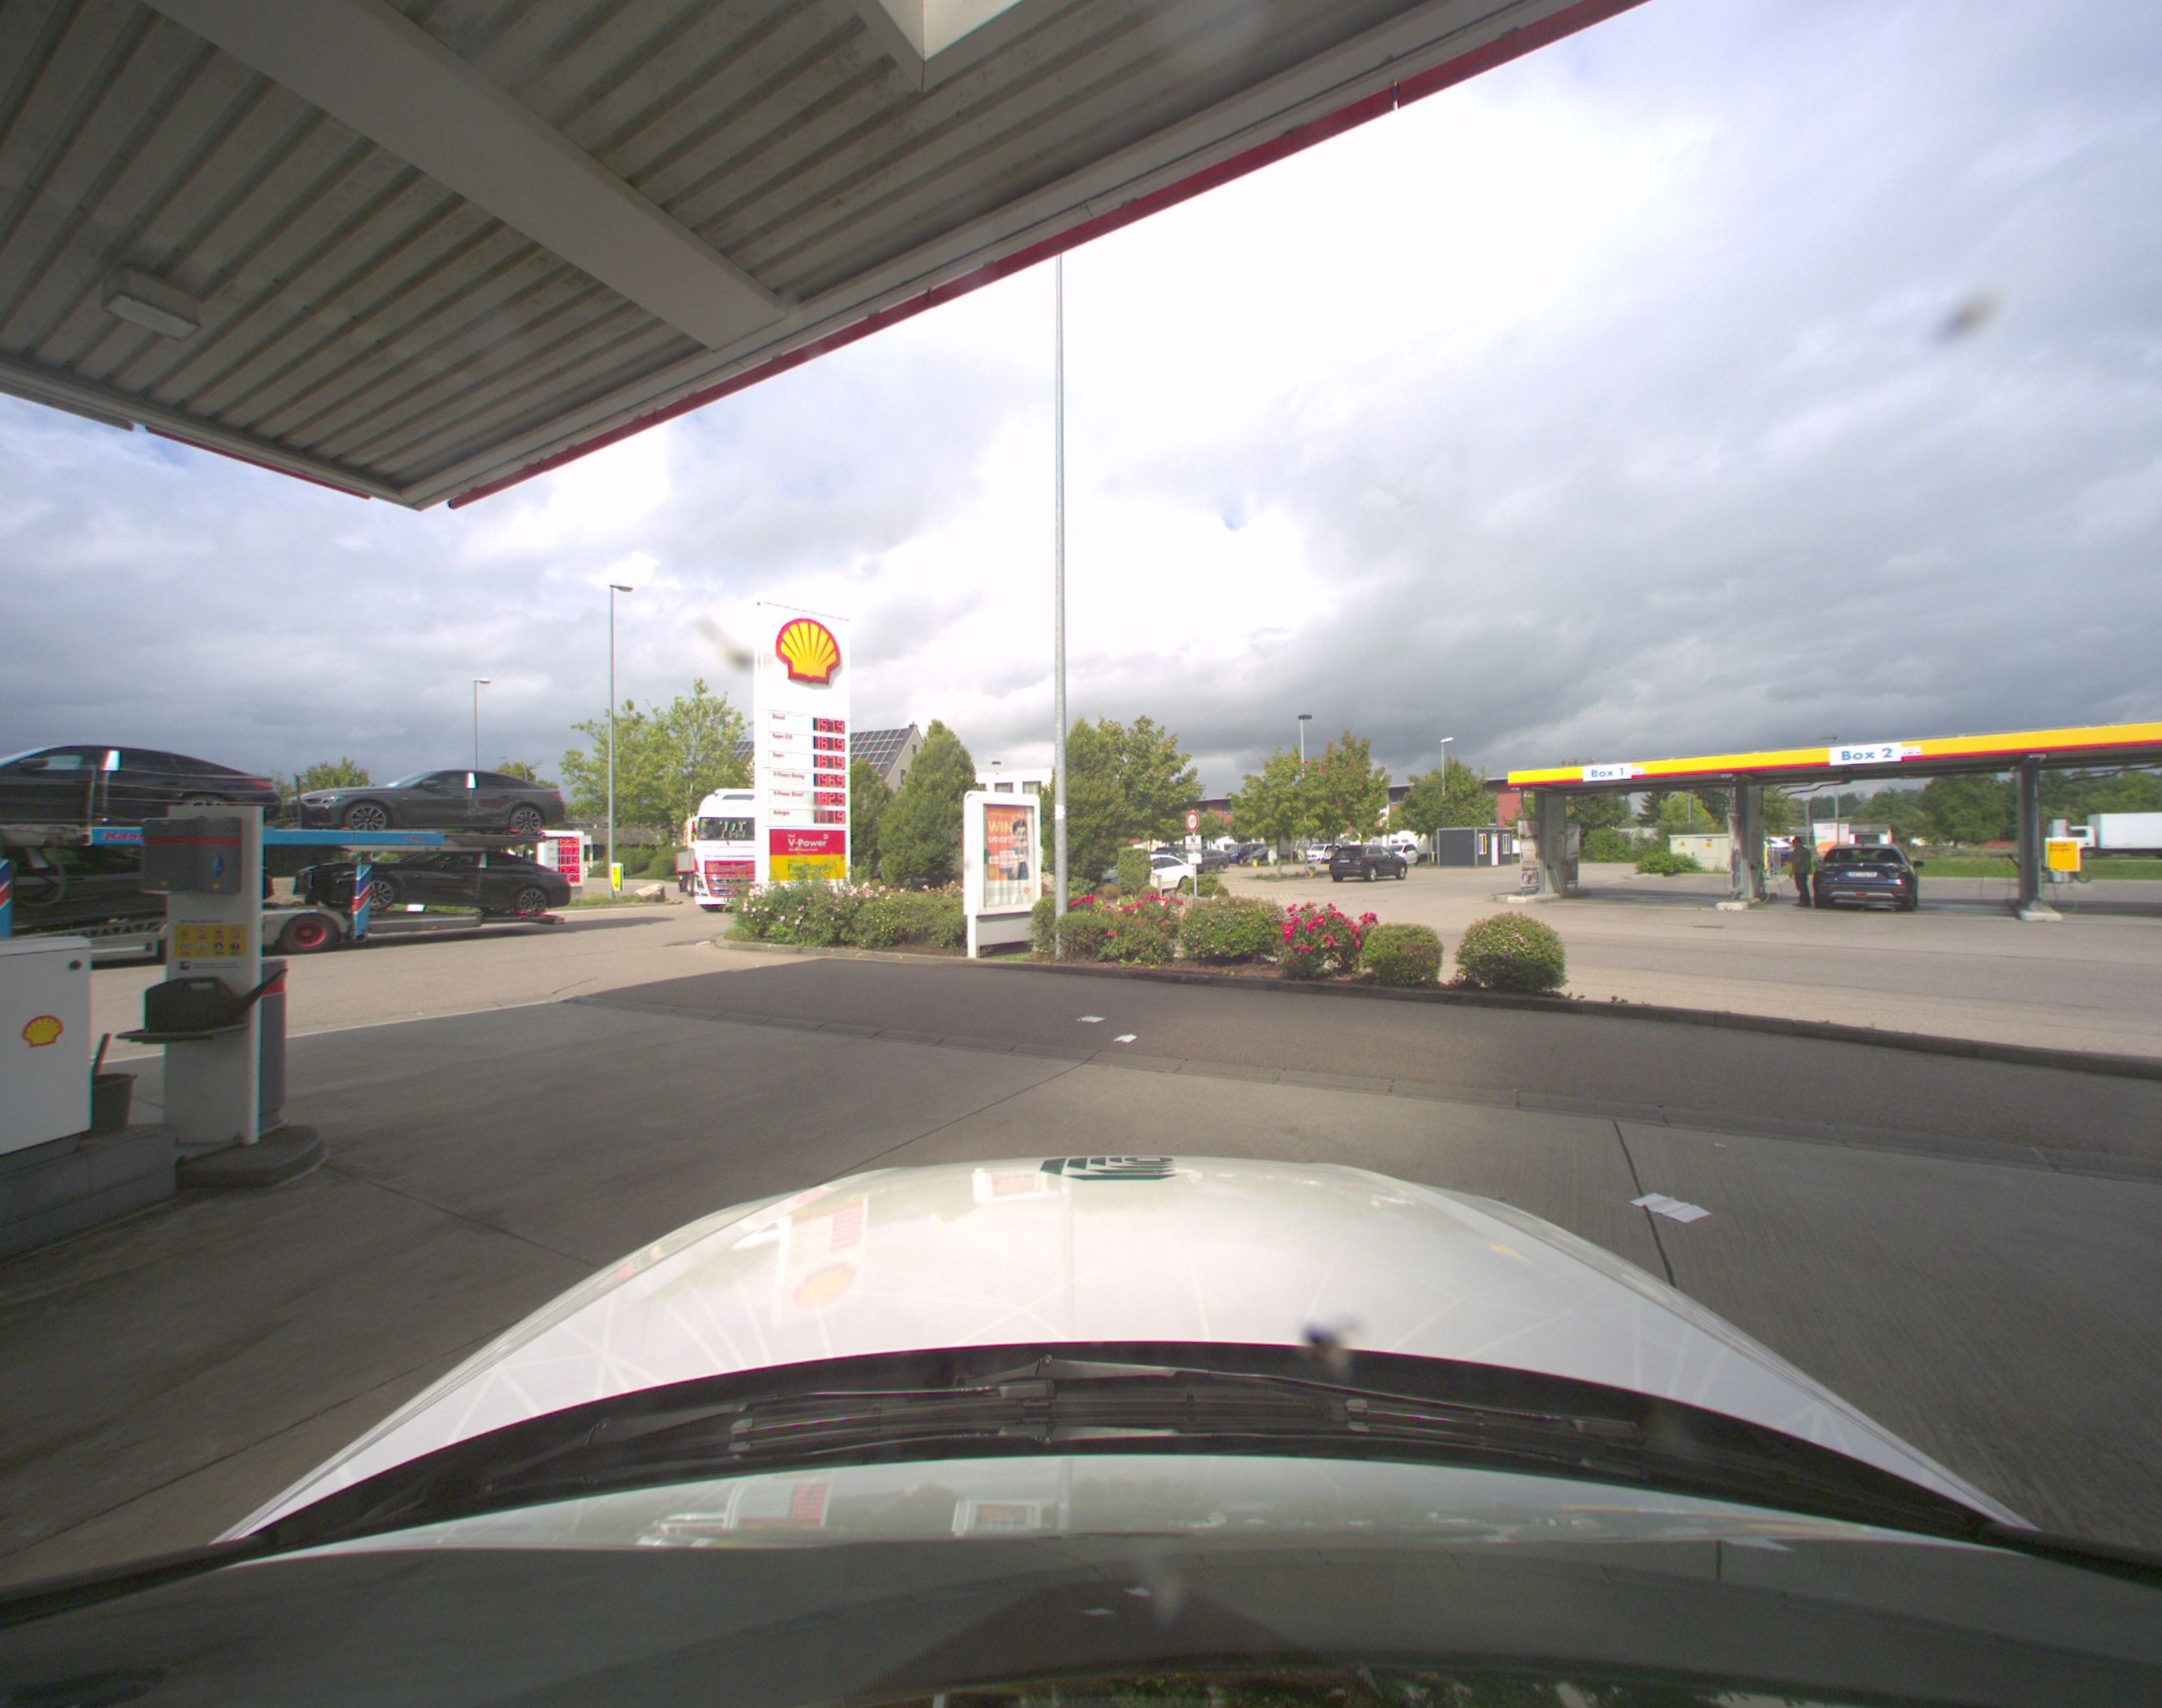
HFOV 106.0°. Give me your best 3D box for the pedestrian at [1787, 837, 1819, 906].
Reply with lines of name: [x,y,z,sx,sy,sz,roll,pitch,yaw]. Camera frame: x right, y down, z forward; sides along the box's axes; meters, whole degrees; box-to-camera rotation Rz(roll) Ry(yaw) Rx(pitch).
pedestrian: [18.234,0.437,20.562,0.551,1.722,0.531,-1,-1,38]

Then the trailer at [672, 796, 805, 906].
trailer: [-14.612,-0.039,33.847,2.750,3.776,12.578,0,-1,-34]

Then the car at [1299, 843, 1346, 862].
car: [23.856,-0.121,80.258,4.903,1.833,2.159,0,-1,-41]

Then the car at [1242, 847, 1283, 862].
car: [14.476,0.035,64.864,3.437,1.179,1.468,0,-1,-42]

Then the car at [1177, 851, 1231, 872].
car: [7.524,0.449,49.694,3.245,1.228,1.488,0,-1,-42]

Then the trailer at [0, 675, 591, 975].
trailer: [-16.448,-0.413,13.671,2.711,4.423,14.450,-1,-1,31]

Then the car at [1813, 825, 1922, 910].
car: [19.425,0.314,20.064,3.828,1.897,1.703,0,-1,-43]

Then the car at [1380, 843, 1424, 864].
car: [20.592,-0.047,52.205,3.120,1.307,1.352,0,-1,-42]

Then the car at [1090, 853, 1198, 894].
car: [2.380,0.683,30.009,4.368,1.404,1.354,0,-1,-42]

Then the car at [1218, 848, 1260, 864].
car: [12.934,0.183,66.648,3.407,1.320,1.726,0,-1,-42]

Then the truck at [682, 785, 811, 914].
truck: [-11.056,-0.118,27.509,2.732,3.846,5.899,0,-1,-10]

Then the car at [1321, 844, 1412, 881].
car: [12.862,0.374,36.568,4.527,1.548,1.864,0,-1,-41]

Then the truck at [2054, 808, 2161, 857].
truck: [78.215,-1.561,60.000,7.989,3.534,2.714,-1,-1,41]
